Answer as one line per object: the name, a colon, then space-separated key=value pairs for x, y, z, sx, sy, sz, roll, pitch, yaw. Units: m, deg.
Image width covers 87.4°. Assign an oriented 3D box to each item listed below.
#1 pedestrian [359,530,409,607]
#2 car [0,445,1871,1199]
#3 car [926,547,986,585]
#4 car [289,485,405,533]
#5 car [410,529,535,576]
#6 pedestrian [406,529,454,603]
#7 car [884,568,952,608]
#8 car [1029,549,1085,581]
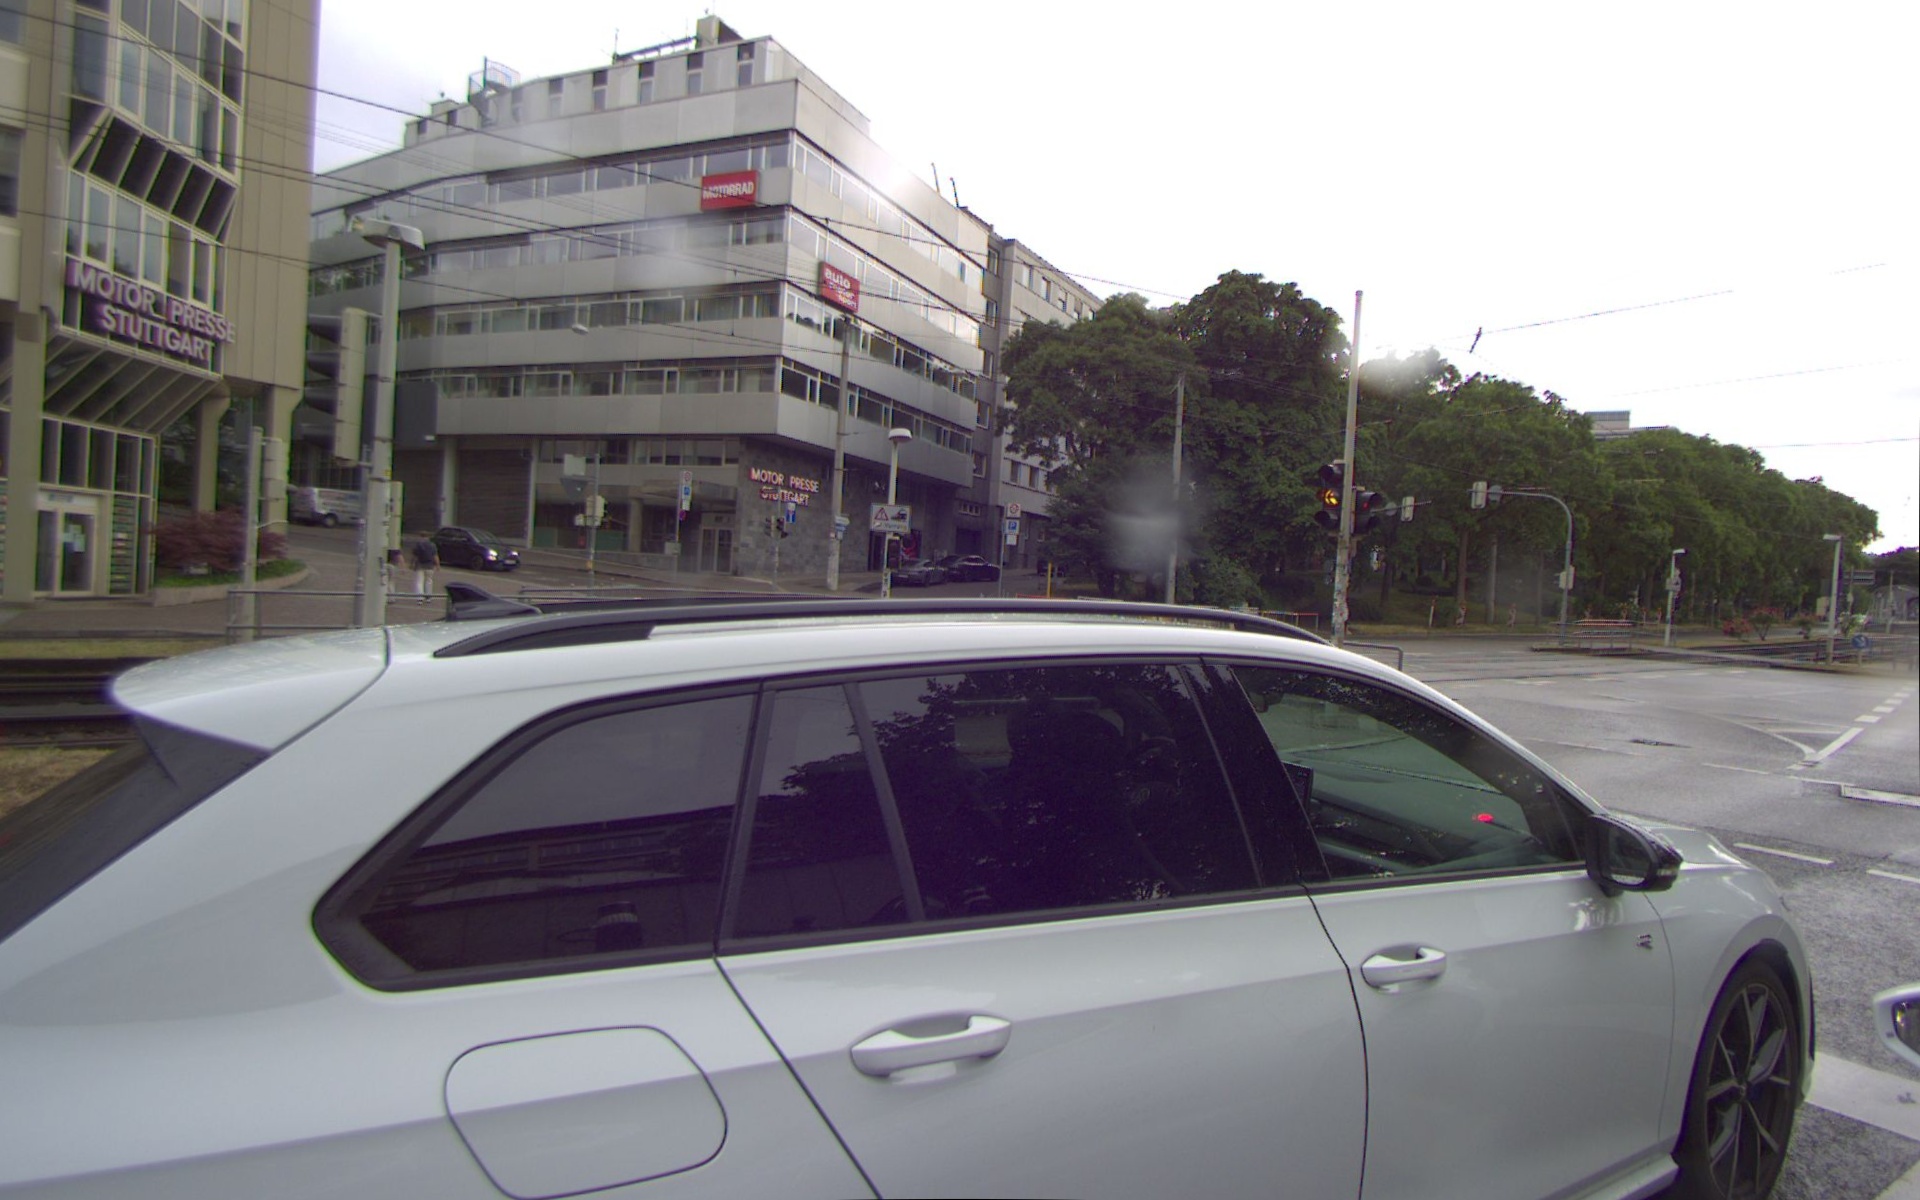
pedestrian: x=-14.109 y=-0.765 z=24.609 sx=0.630 sy=1.811 sz=0.808 roll=6 pitch=3 yaw=36
car: x=0.104 y=0.693 z=2.256 sx=4.203 sy=1.597 sz=1.670 roll=2 pitch=1 yaw=-31
car: x=-0.170 y=-1.918 z=55.622 sx=1.961 sy=1.818 sz=3.998 roll=5 pitch=5 yaw=19
car: x=-32.092 y=-4.733 z=52.721 sx=1.963 sy=2.040 sz=4.831 roll=5 pitch=2 yaw=26
car: x=-18.051 y=-1.756 z=37.231 sx=3.920 sy=1.383 sz=1.830 roll=5 pitch=2 yaw=16
pedestrian: x=-13.422 y=-0.854 z=25.448 sx=0.630 sy=1.811 sz=0.808 roll=6 pitch=3 yaw=36
car: x=-2.075 y=-0.615 z=50.760 sx=1.961 sy=1.818 sz=4.000 roll=5 pitch=2 yaw=19
car: x=6.425 y=-2.245 z=65.907 sx=1.964 sy=1.818 sz=4.202 roll=6 pitch=2 yaw=30
